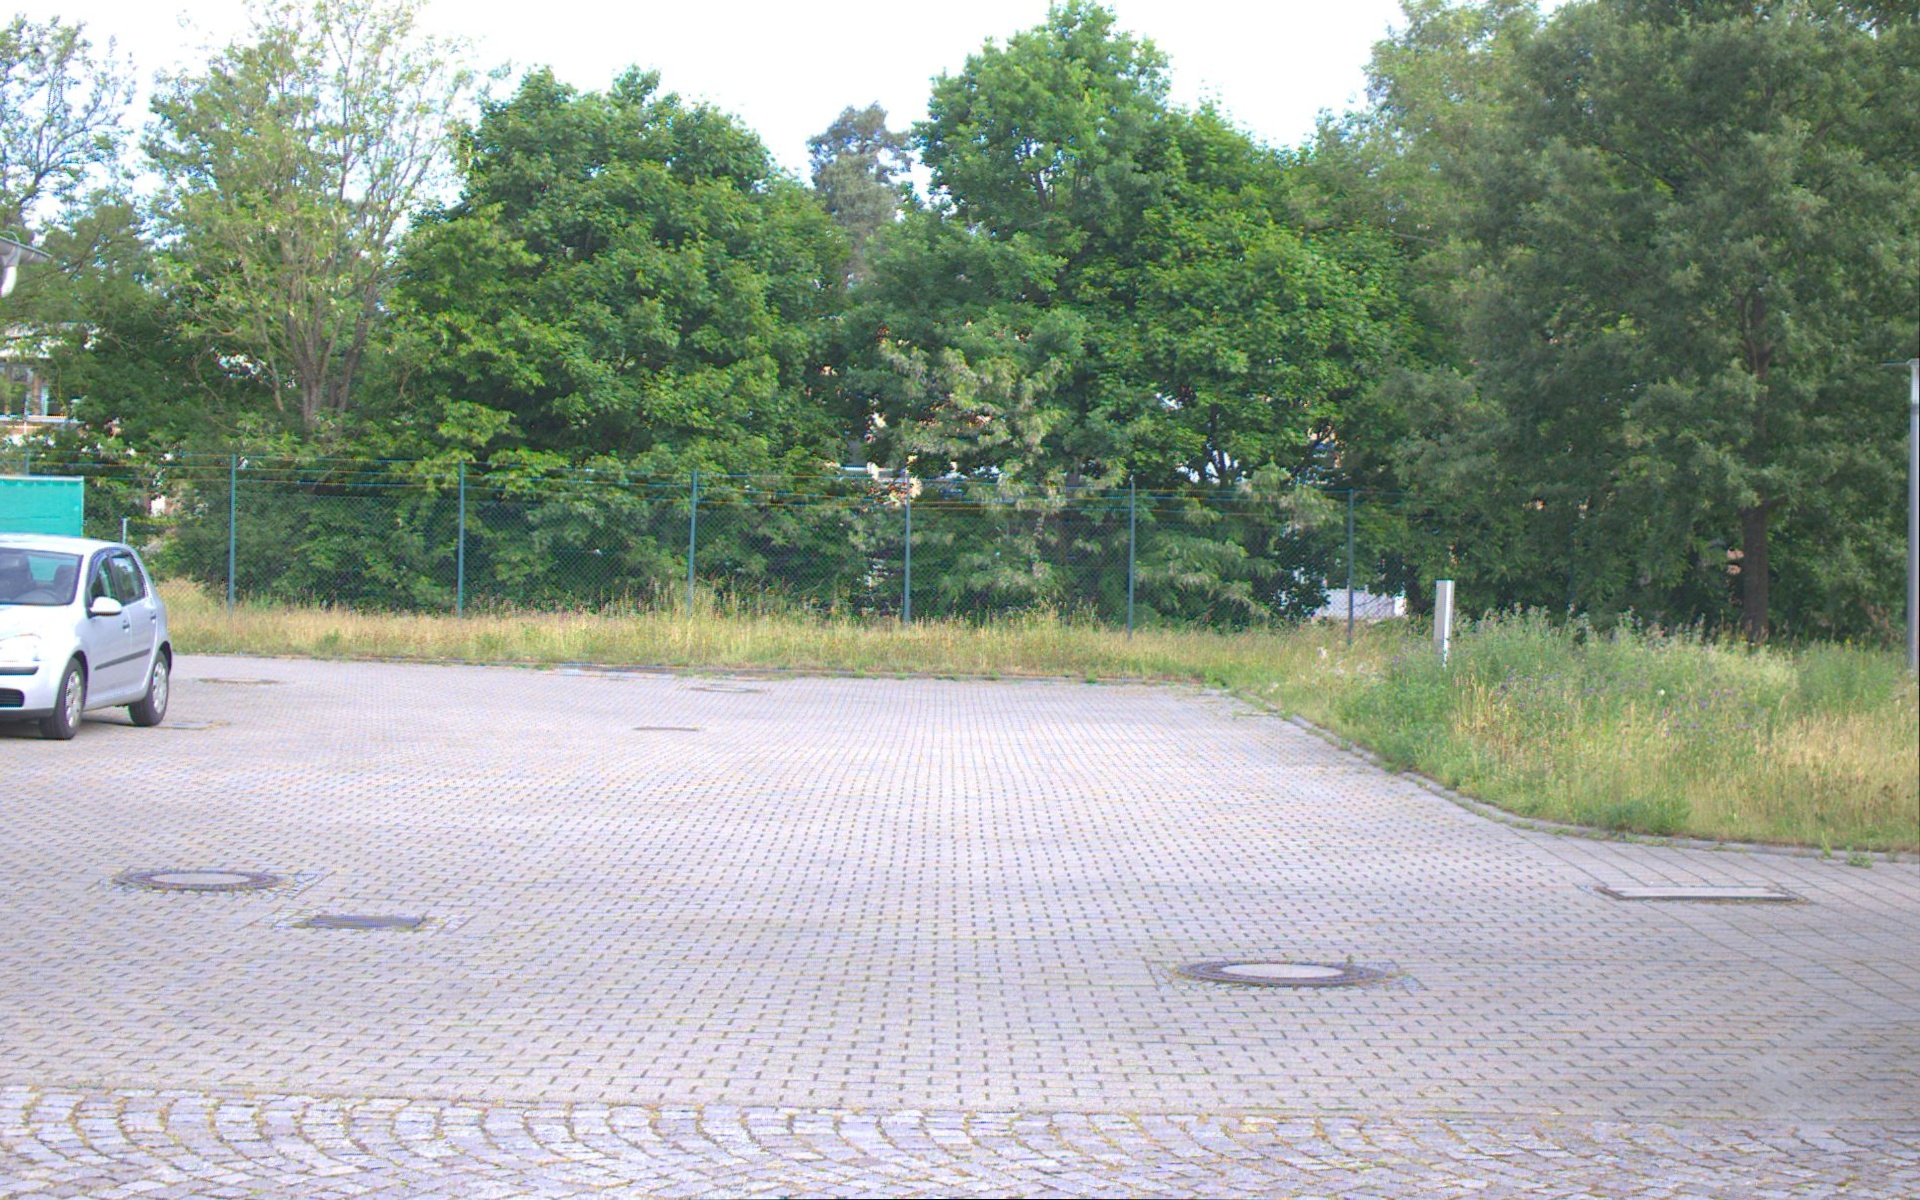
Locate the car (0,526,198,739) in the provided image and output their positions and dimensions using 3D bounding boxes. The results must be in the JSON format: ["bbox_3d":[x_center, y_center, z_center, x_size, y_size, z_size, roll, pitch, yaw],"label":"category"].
[{"bbox_3d":[-7.288,0.176,26.394,1.924,1.434,4.368,3,1,-1],"label":"car"}]
